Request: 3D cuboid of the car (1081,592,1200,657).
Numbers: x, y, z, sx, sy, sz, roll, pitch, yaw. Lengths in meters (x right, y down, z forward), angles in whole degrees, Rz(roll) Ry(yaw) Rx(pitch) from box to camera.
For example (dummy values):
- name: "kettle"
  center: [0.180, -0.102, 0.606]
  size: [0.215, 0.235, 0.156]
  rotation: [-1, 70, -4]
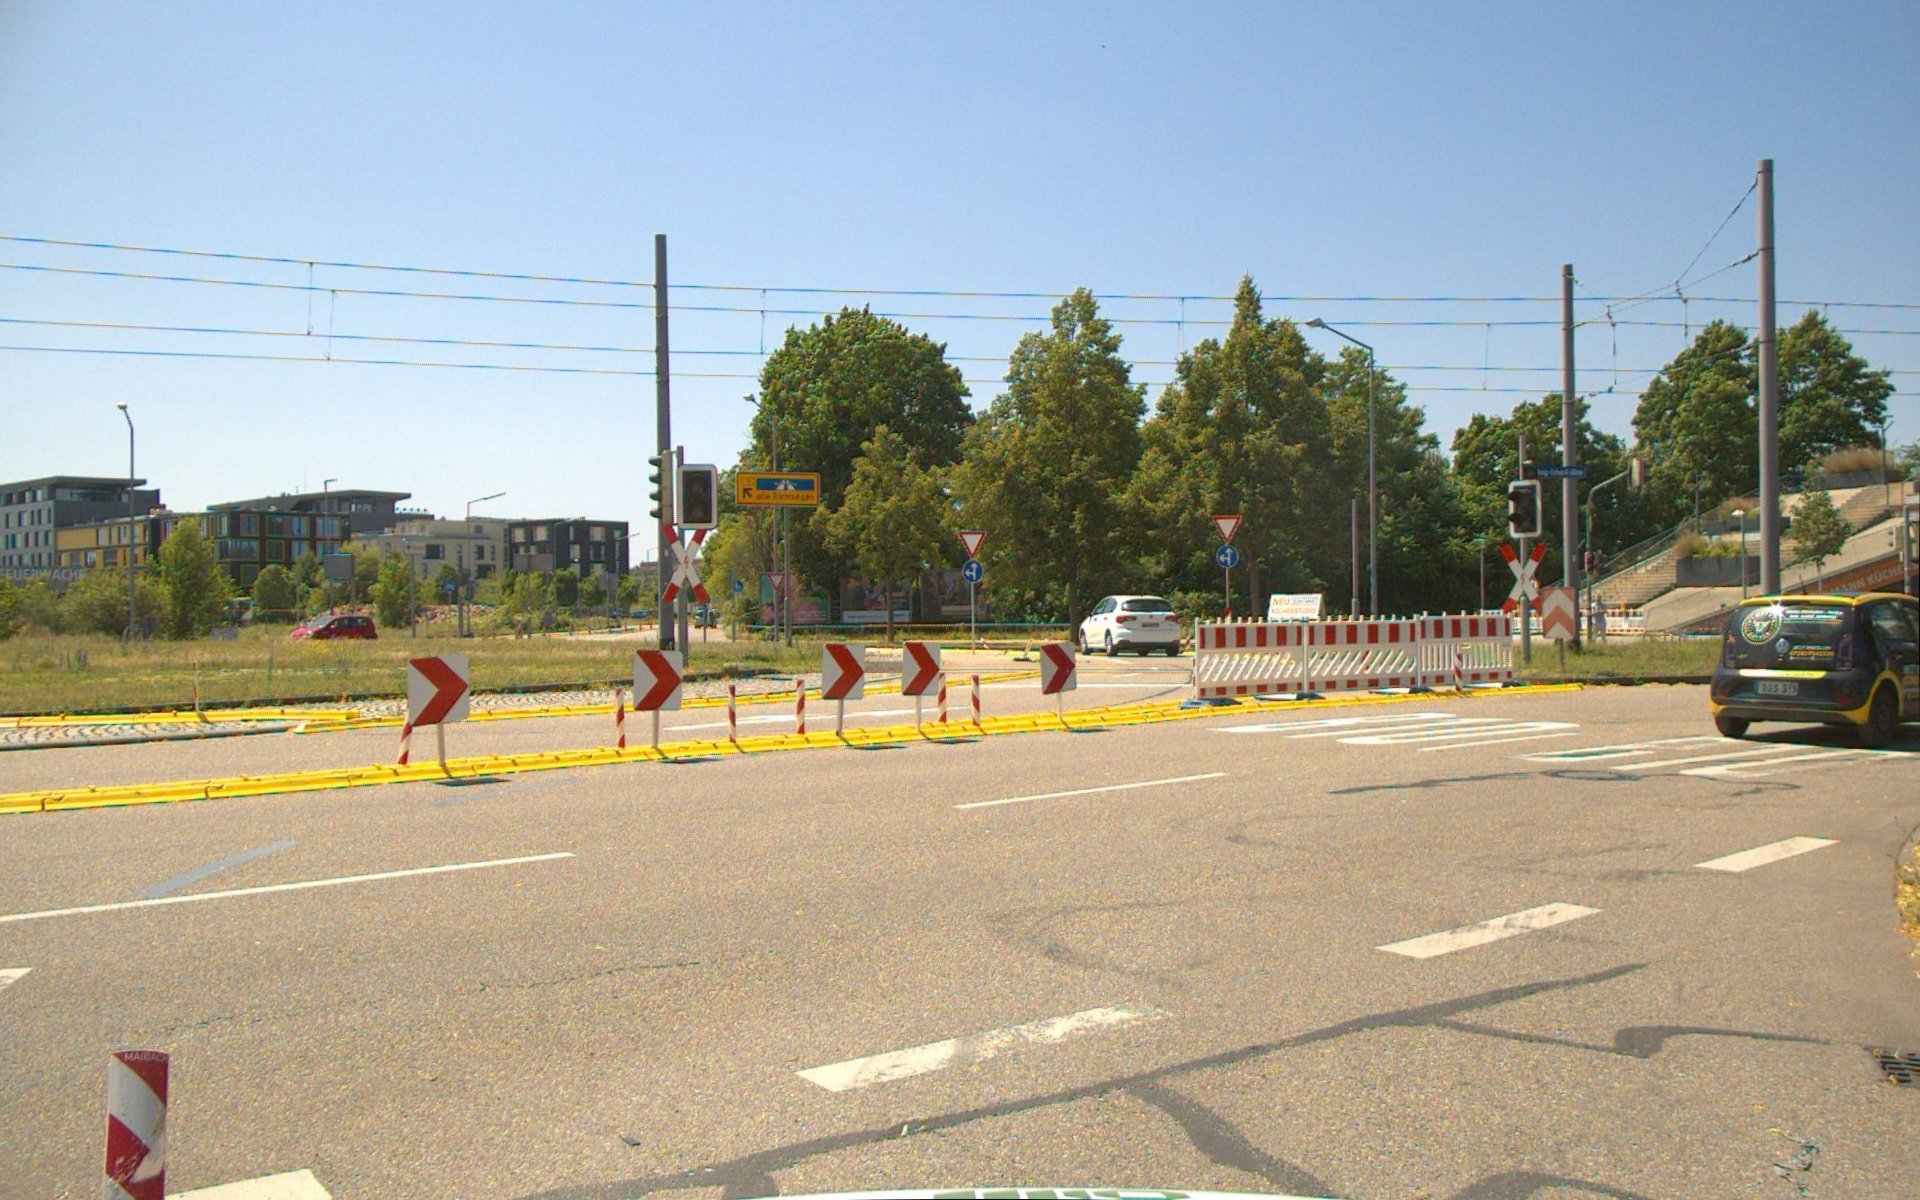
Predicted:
- name: "car"
  center: [4.426, 0.582, 41.212]
  size: [1.956, 1.512, 4.359]
  rotation: [-1, 0, -8]

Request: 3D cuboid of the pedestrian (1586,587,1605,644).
- name: "pedestrian"
  center: [19.865, 0.476, 51.686]
  size: [0.439, 1.769, 0.318]
  rotation: [0, 0, -2]

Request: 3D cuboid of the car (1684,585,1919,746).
- name: "car"
  center: [9.133, 0.613, 17.028]
  size: [3.951, 1.477, 1.599]
  rotation: [1, -1, -42]

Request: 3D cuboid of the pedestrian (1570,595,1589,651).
- name: "pedestrian"
  center: [19.361, 0.715, 51.696]
  size: [0.439, 1.769, 0.291]
  rotation: [0, 0, -2]

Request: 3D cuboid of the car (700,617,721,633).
- name: "car"
  center: [-22.074, 2.206, 146.332]
  size: [1.626, 1.396, 3.029]
  rotation: [-1, 0, -5]

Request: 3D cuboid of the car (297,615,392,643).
- name: "car"
  center: [-25.691, 1.196, 69.109]
  size: [1.468, 1.109, 3.507]
  rotation: [-1, 0, 35]
